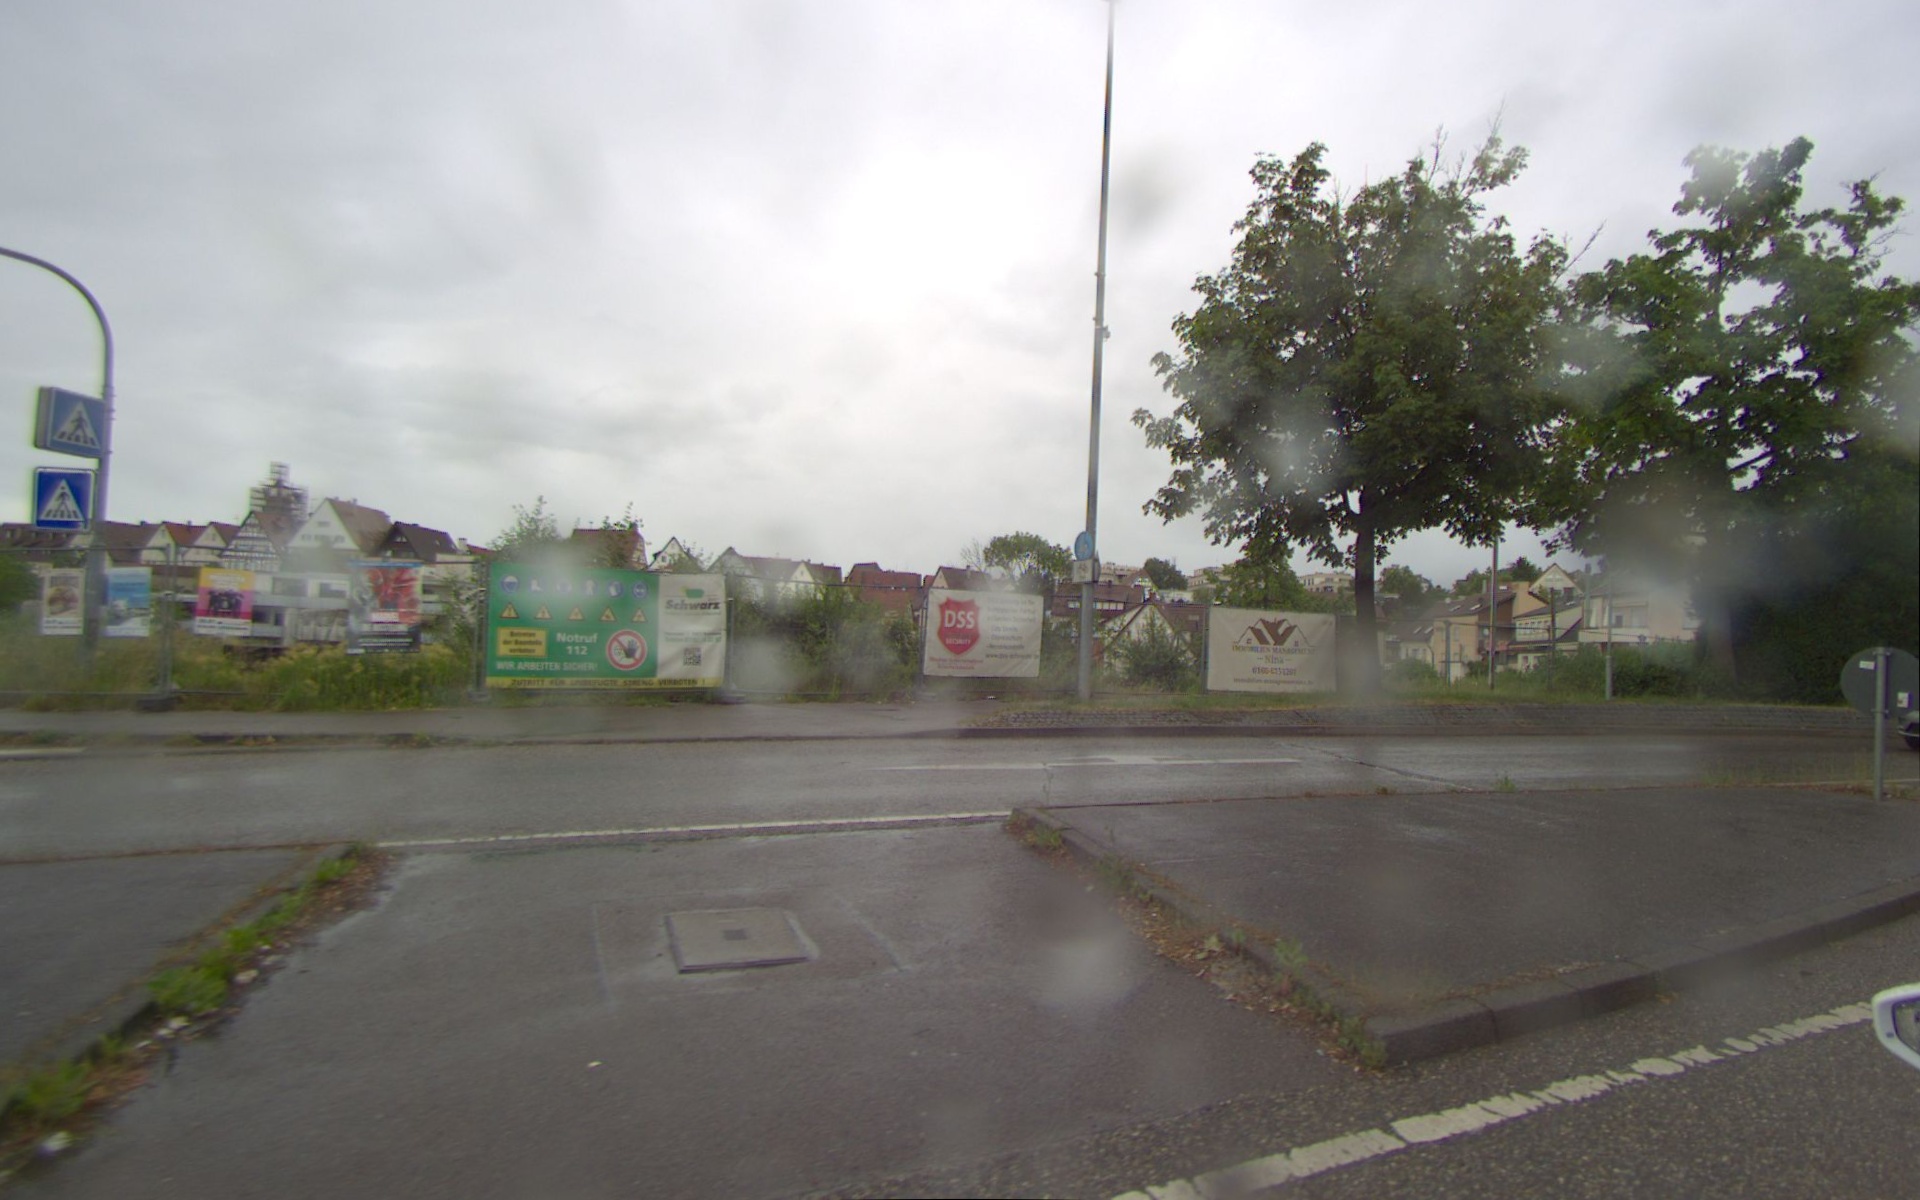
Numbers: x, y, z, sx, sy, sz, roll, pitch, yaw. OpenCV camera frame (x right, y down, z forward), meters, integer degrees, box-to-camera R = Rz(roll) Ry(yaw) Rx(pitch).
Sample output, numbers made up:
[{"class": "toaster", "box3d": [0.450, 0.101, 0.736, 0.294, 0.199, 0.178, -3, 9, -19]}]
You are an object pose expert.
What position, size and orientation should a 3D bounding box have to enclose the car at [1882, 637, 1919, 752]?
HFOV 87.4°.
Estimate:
[{"class": "car", "box3d": [15.319, 1.381, 14.183, 4.090, 1.572, 1.642, 2, -2, -19]}]
